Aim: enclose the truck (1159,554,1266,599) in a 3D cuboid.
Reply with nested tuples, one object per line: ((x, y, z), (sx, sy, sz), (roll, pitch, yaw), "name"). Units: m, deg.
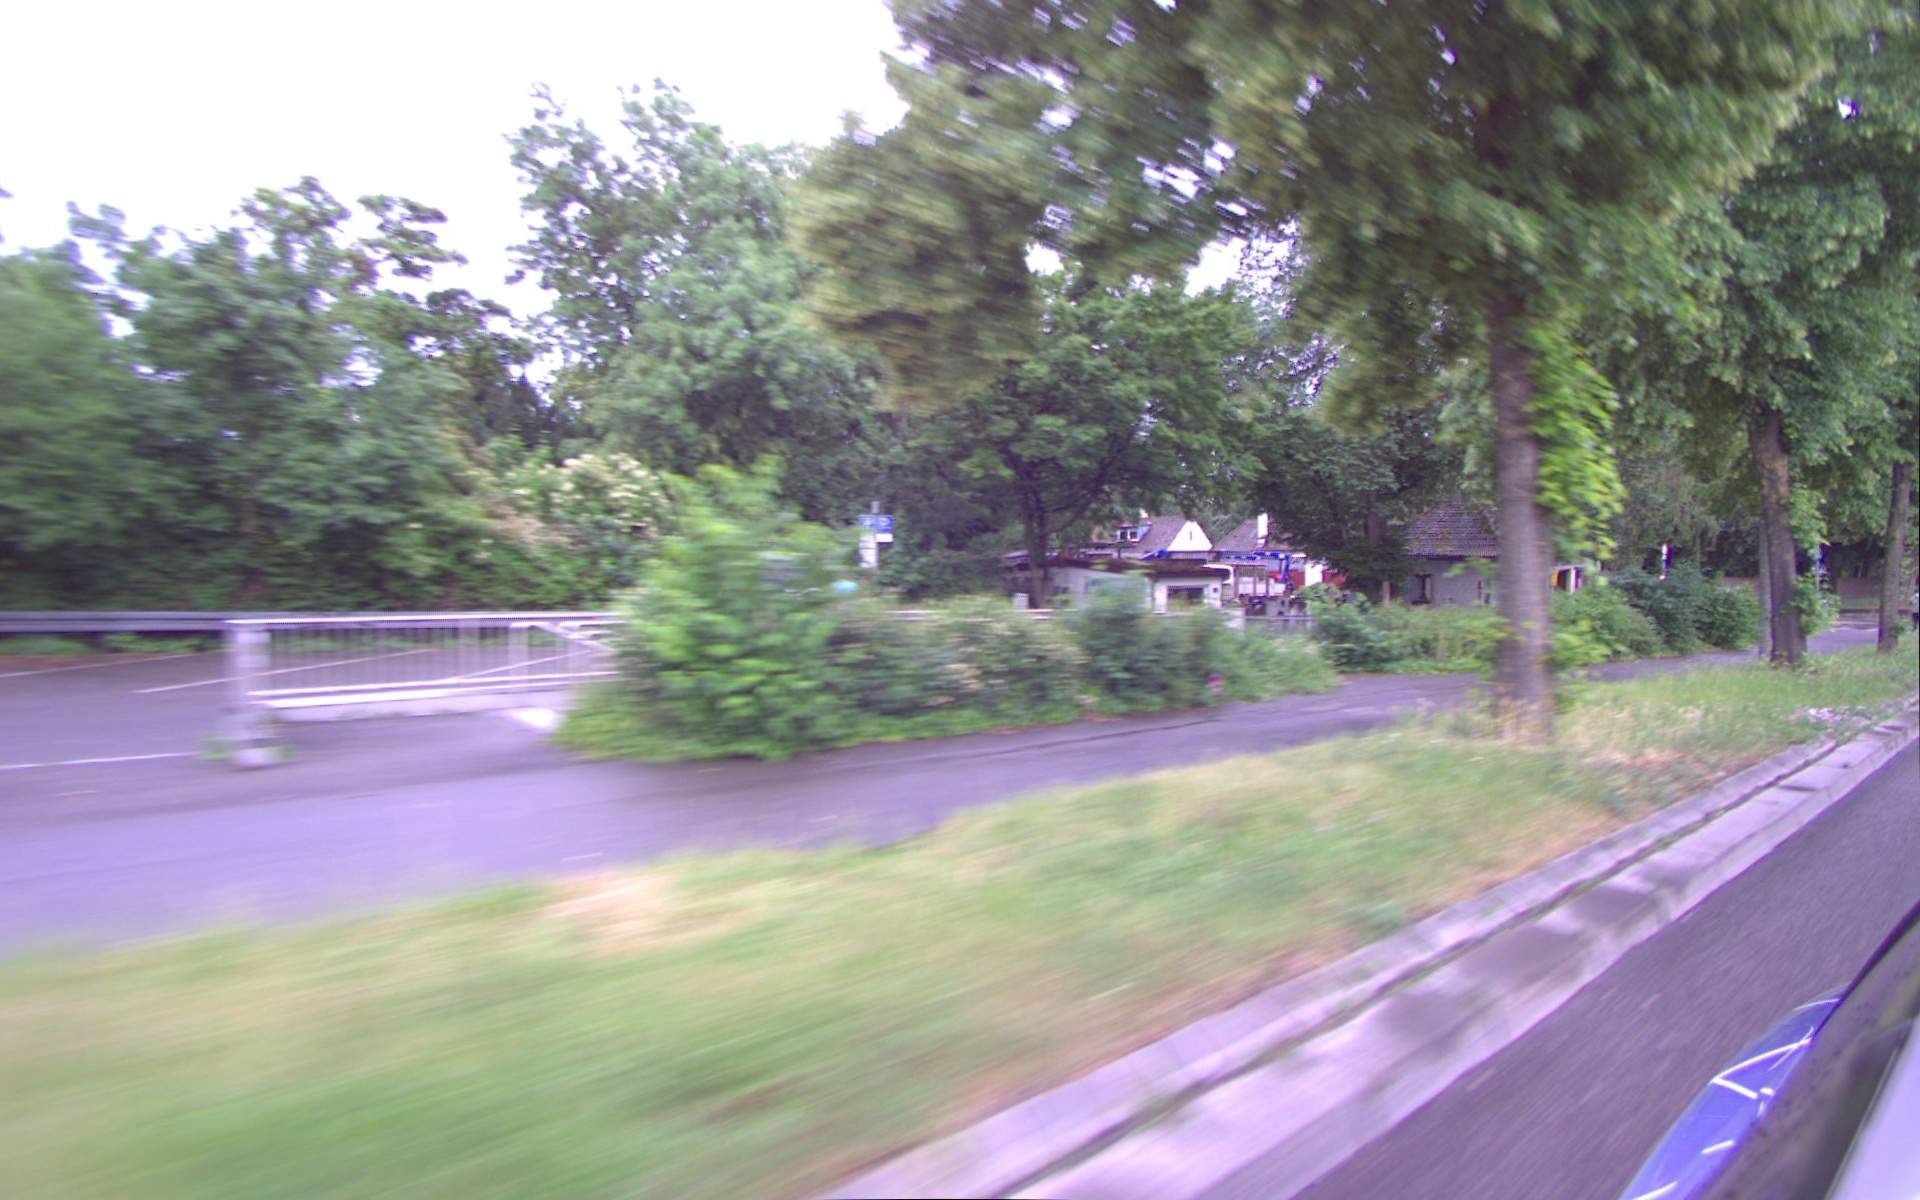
((13.827, -1.222, 55.651), (2.185, 2.209, 5.396), (1, -2, -44), "truck")

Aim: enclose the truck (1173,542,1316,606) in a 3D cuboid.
((13.709, -1.217, 48.847), (6.466, 2.903, 2.064), (1, 1, -16), "truck")

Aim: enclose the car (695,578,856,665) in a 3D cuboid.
((-3.708, 0.360, 21.278), (1.967, 1.599, 4.640), (1, 1, 8), "car")

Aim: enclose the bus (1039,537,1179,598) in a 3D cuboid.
((7.167, -1.480, 48.110), (7.034, 2.734, 2.258), (0, 1, -37), "bus")

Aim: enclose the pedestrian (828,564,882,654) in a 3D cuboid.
((-2.194, 0.163, 21.148), (0.882, 1.792, 0.942), (2, 2, 8), "pedestrian")

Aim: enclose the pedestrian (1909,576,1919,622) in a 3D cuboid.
((40.336, -0.033, 42.286), (0.723, 1.877, 0.857), (1, 1, -37), "pedestrian")
